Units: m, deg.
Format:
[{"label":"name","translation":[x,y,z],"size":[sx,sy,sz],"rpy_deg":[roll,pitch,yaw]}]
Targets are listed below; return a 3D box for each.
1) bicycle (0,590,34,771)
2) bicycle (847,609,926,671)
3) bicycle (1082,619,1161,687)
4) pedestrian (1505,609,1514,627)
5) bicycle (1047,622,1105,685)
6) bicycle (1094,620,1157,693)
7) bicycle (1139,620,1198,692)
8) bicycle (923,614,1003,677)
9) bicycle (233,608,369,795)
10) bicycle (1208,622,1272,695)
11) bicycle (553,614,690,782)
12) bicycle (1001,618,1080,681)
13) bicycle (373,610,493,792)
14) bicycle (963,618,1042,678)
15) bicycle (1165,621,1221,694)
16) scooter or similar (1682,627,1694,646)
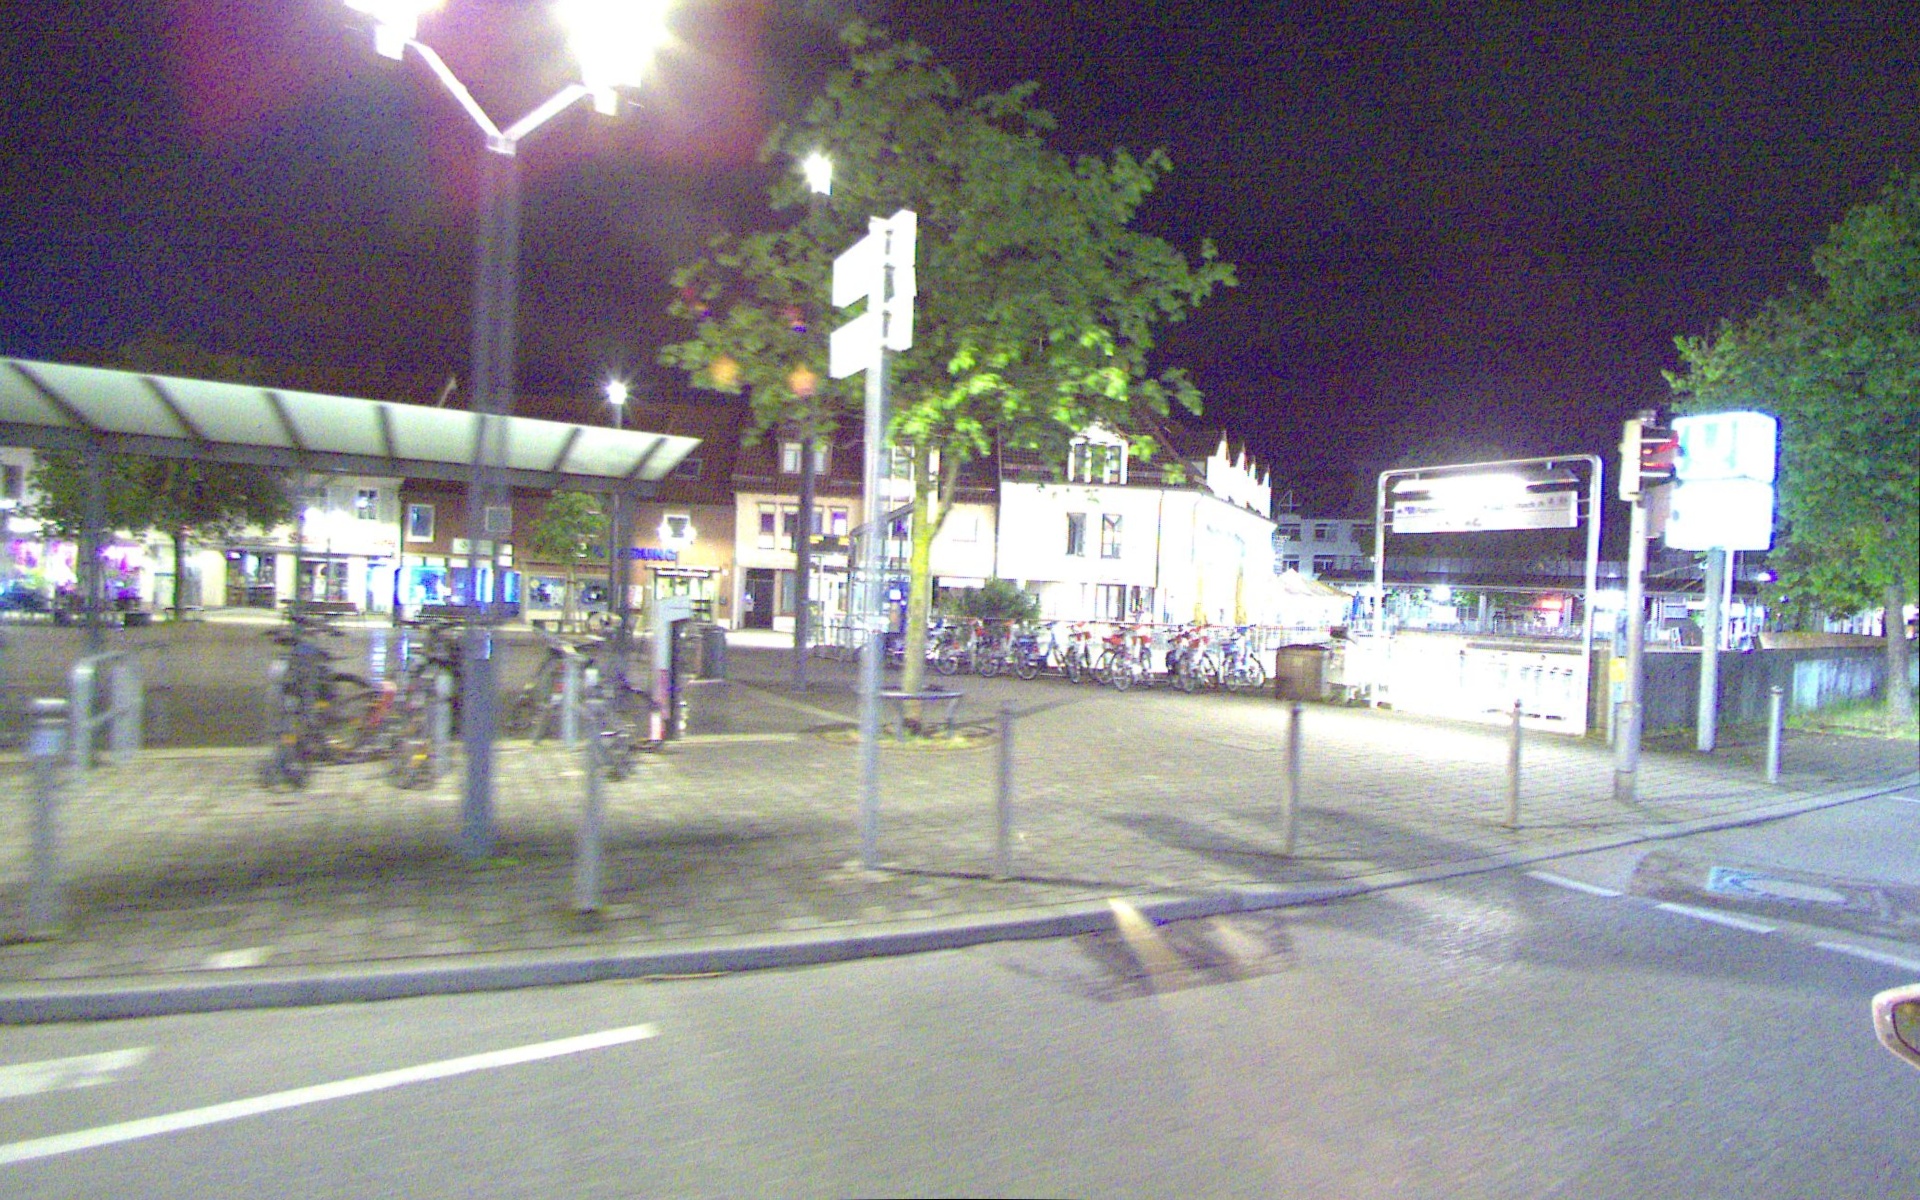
[{"label":"bicycle","translation":[-6.433,0.526,6.199],"size":[0.662,1.179,1.760],"rpy_deg":[2,0,-30]},{"label":"bicycle","translation":[-1.524,0.820,21.024],"size":[0.600,1.235,1.738],"rpy_deg":[1,0,41]},{"label":"bicycle","translation":[3.011,0.957,18.650],"size":[0.600,1.181,1.738],"rpy_deg":[1,0,42]},{"label":"pedestrian","translation":[48.395,1.570,88.492],"size":[0.451,1.566,0.481],"rpy_deg":[0,0,-5]},{"label":"bicycle","translation":[2.191,0.977,18.846],"size":[0.597,1.084,1.746],"rpy_deg":[1,0,23]},{"label":"bicycle","translation":[2.923,0.961,17.606],"size":[0.597,1.181,1.745],"rpy_deg":[1,0,27]},{"label":"bicycle","translation":[3.728,0.966,17.857],"size":[0.597,1.181,1.745],"rpy_deg":[1,0,27]},{"label":"bicycle","translation":[0.078,0.885,19.990],"size":[0.600,1.181,1.738],"rpy_deg":[1,0,41]},{"label":"bicycle","translation":[-4.584,0.647,7.077],"size":[0.662,1.120,1.608],"rpy_deg":[3,0,-30]},{"label":"bicycle","translation":[4.929,0.986,17.633],"size":[0.747,1.177,1.745],"rpy_deg":[1,0,27]},{"label":"bicycle","translation":[-2.683,0.706,7.850],"size":[0.662,1.120,1.608],"rpy_deg":[3,0,-30]},{"label":"bicycle","translation":[1.564,0.929,19.374],"size":[0.600,1.140,1.738],"rpy_deg":[1,0,41]},{"label":"bicycle","translation":[-3.863,0.671,7.315],"size":[0.662,1.120,1.608],"rpy_deg":[2,0,-30]},{"label":"bicycle","translation":[0.862,0.933,19.908],"size":[0.600,1.115,1.738],"rpy_deg":[1,0,41]},{"label":"bicycle","translation":[4.078,0.974,17.487],"size":[0.535,1.170,1.745],"rpy_deg":[1,0,27]},{"label":"scooter or similar","translation":[52.182,2.612,72.013],"size":[0.423,1.302,1.146],"rpy_deg":[1,0,25]}]
